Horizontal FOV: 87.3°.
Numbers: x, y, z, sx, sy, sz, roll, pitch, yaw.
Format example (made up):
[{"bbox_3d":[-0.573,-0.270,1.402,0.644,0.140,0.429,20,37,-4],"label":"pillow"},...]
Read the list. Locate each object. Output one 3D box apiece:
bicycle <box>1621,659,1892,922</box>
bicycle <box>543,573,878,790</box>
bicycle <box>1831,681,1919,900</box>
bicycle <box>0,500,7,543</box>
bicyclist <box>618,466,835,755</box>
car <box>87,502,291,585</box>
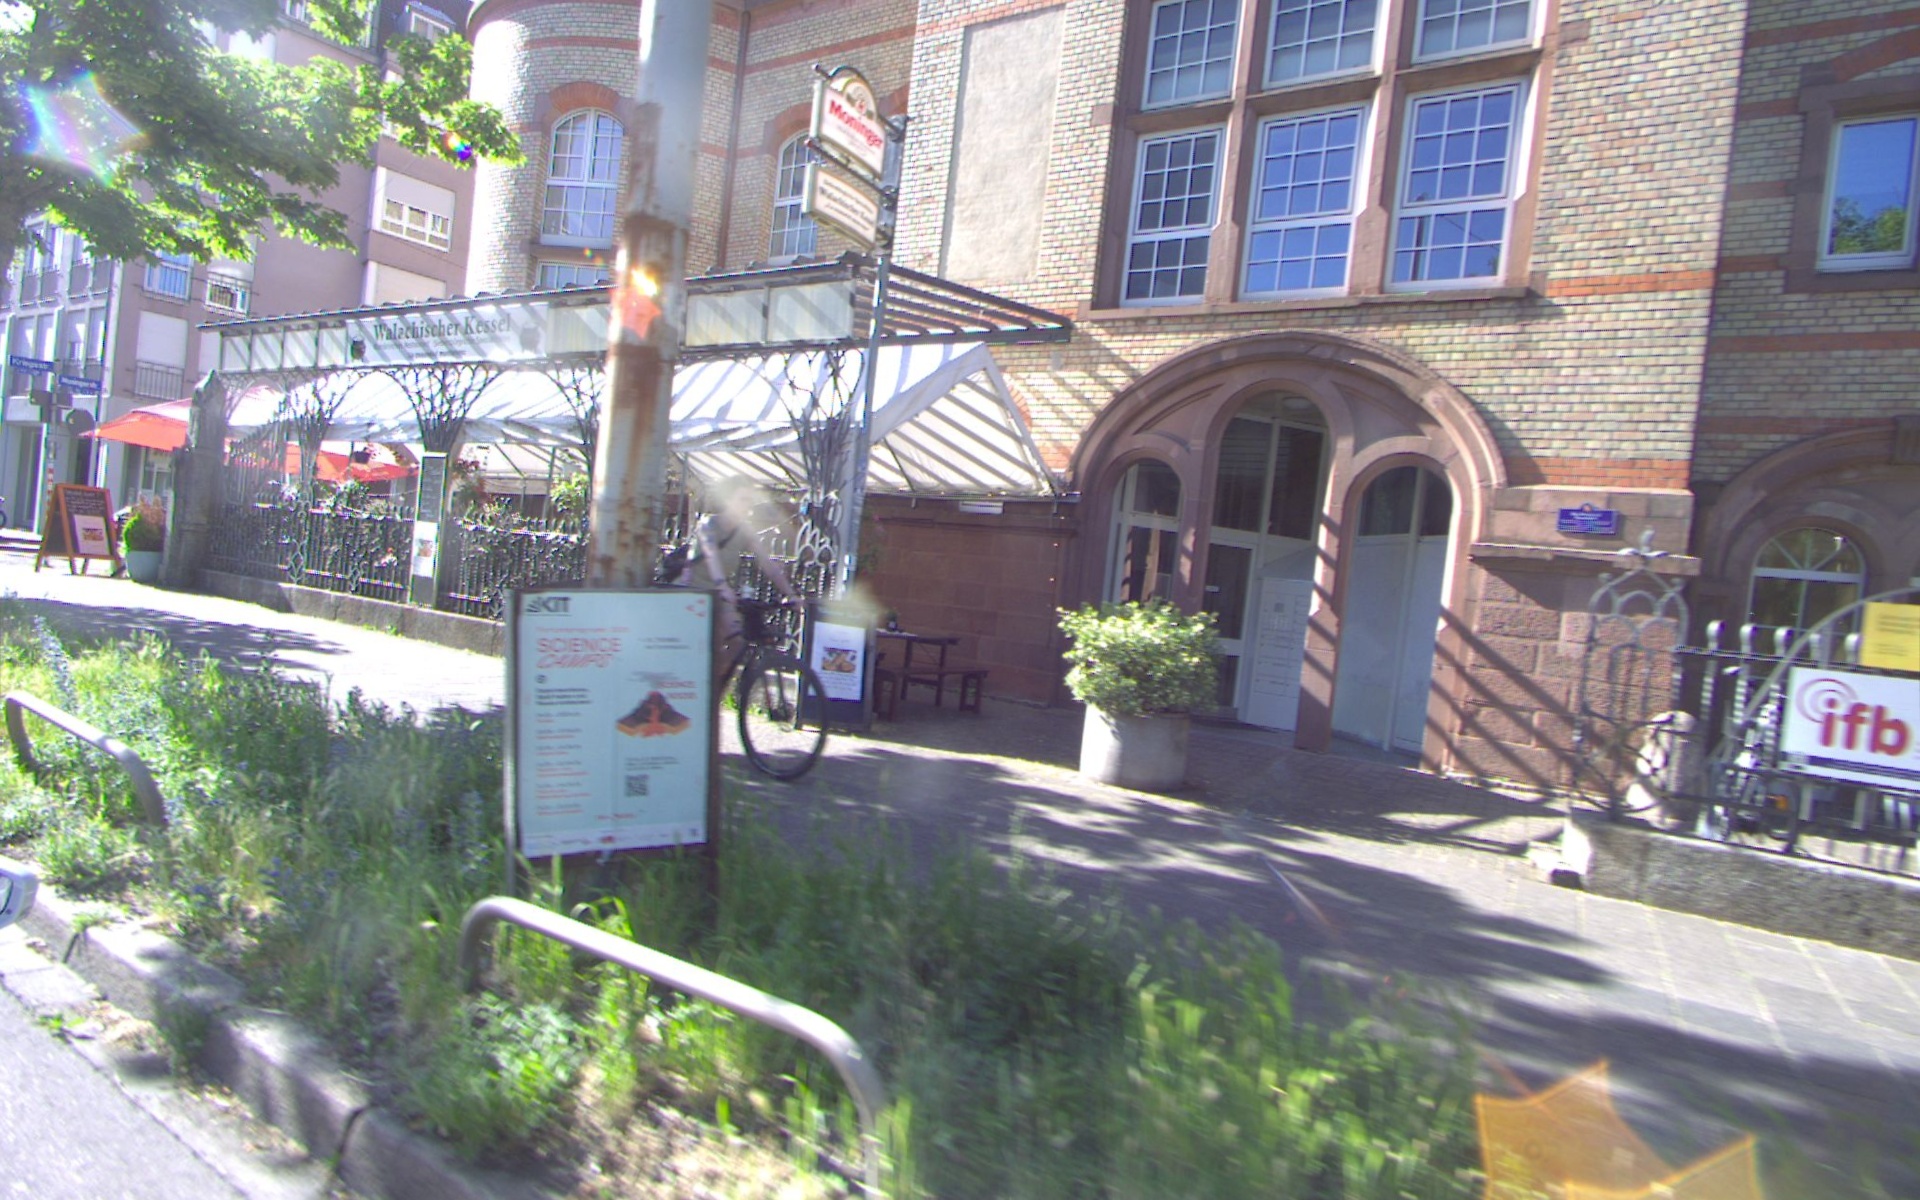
[{"bbox_3d":[4.571,0.990,5.967,0.675,1.193,2.201,6,-1,25],"label":"bicycle"},{"bbox_3d":[-1.597,0.452,6.282,2.061,1.040,0.686,6,0,31],"label":"bicycle"},{"bbox_3d":[5.745,1.101,5.608,0.675,1.193,2.201,6,-1,25],"label":"bicycle"},{"bbox_3d":[-25.928,-2.169,26.671,2.170,1.041,0.684,10,3,40],"label":"bicycle"},{"bbox_3d":[-1.431,0.053,6.200,0.939,1.619,0.701,6,0,30],"label":"bicyclist"},{"bbox_3d":[-20.134,-1.454,26.359,1.838,1.541,3.936,6,-1,44],"label":"car"}]
